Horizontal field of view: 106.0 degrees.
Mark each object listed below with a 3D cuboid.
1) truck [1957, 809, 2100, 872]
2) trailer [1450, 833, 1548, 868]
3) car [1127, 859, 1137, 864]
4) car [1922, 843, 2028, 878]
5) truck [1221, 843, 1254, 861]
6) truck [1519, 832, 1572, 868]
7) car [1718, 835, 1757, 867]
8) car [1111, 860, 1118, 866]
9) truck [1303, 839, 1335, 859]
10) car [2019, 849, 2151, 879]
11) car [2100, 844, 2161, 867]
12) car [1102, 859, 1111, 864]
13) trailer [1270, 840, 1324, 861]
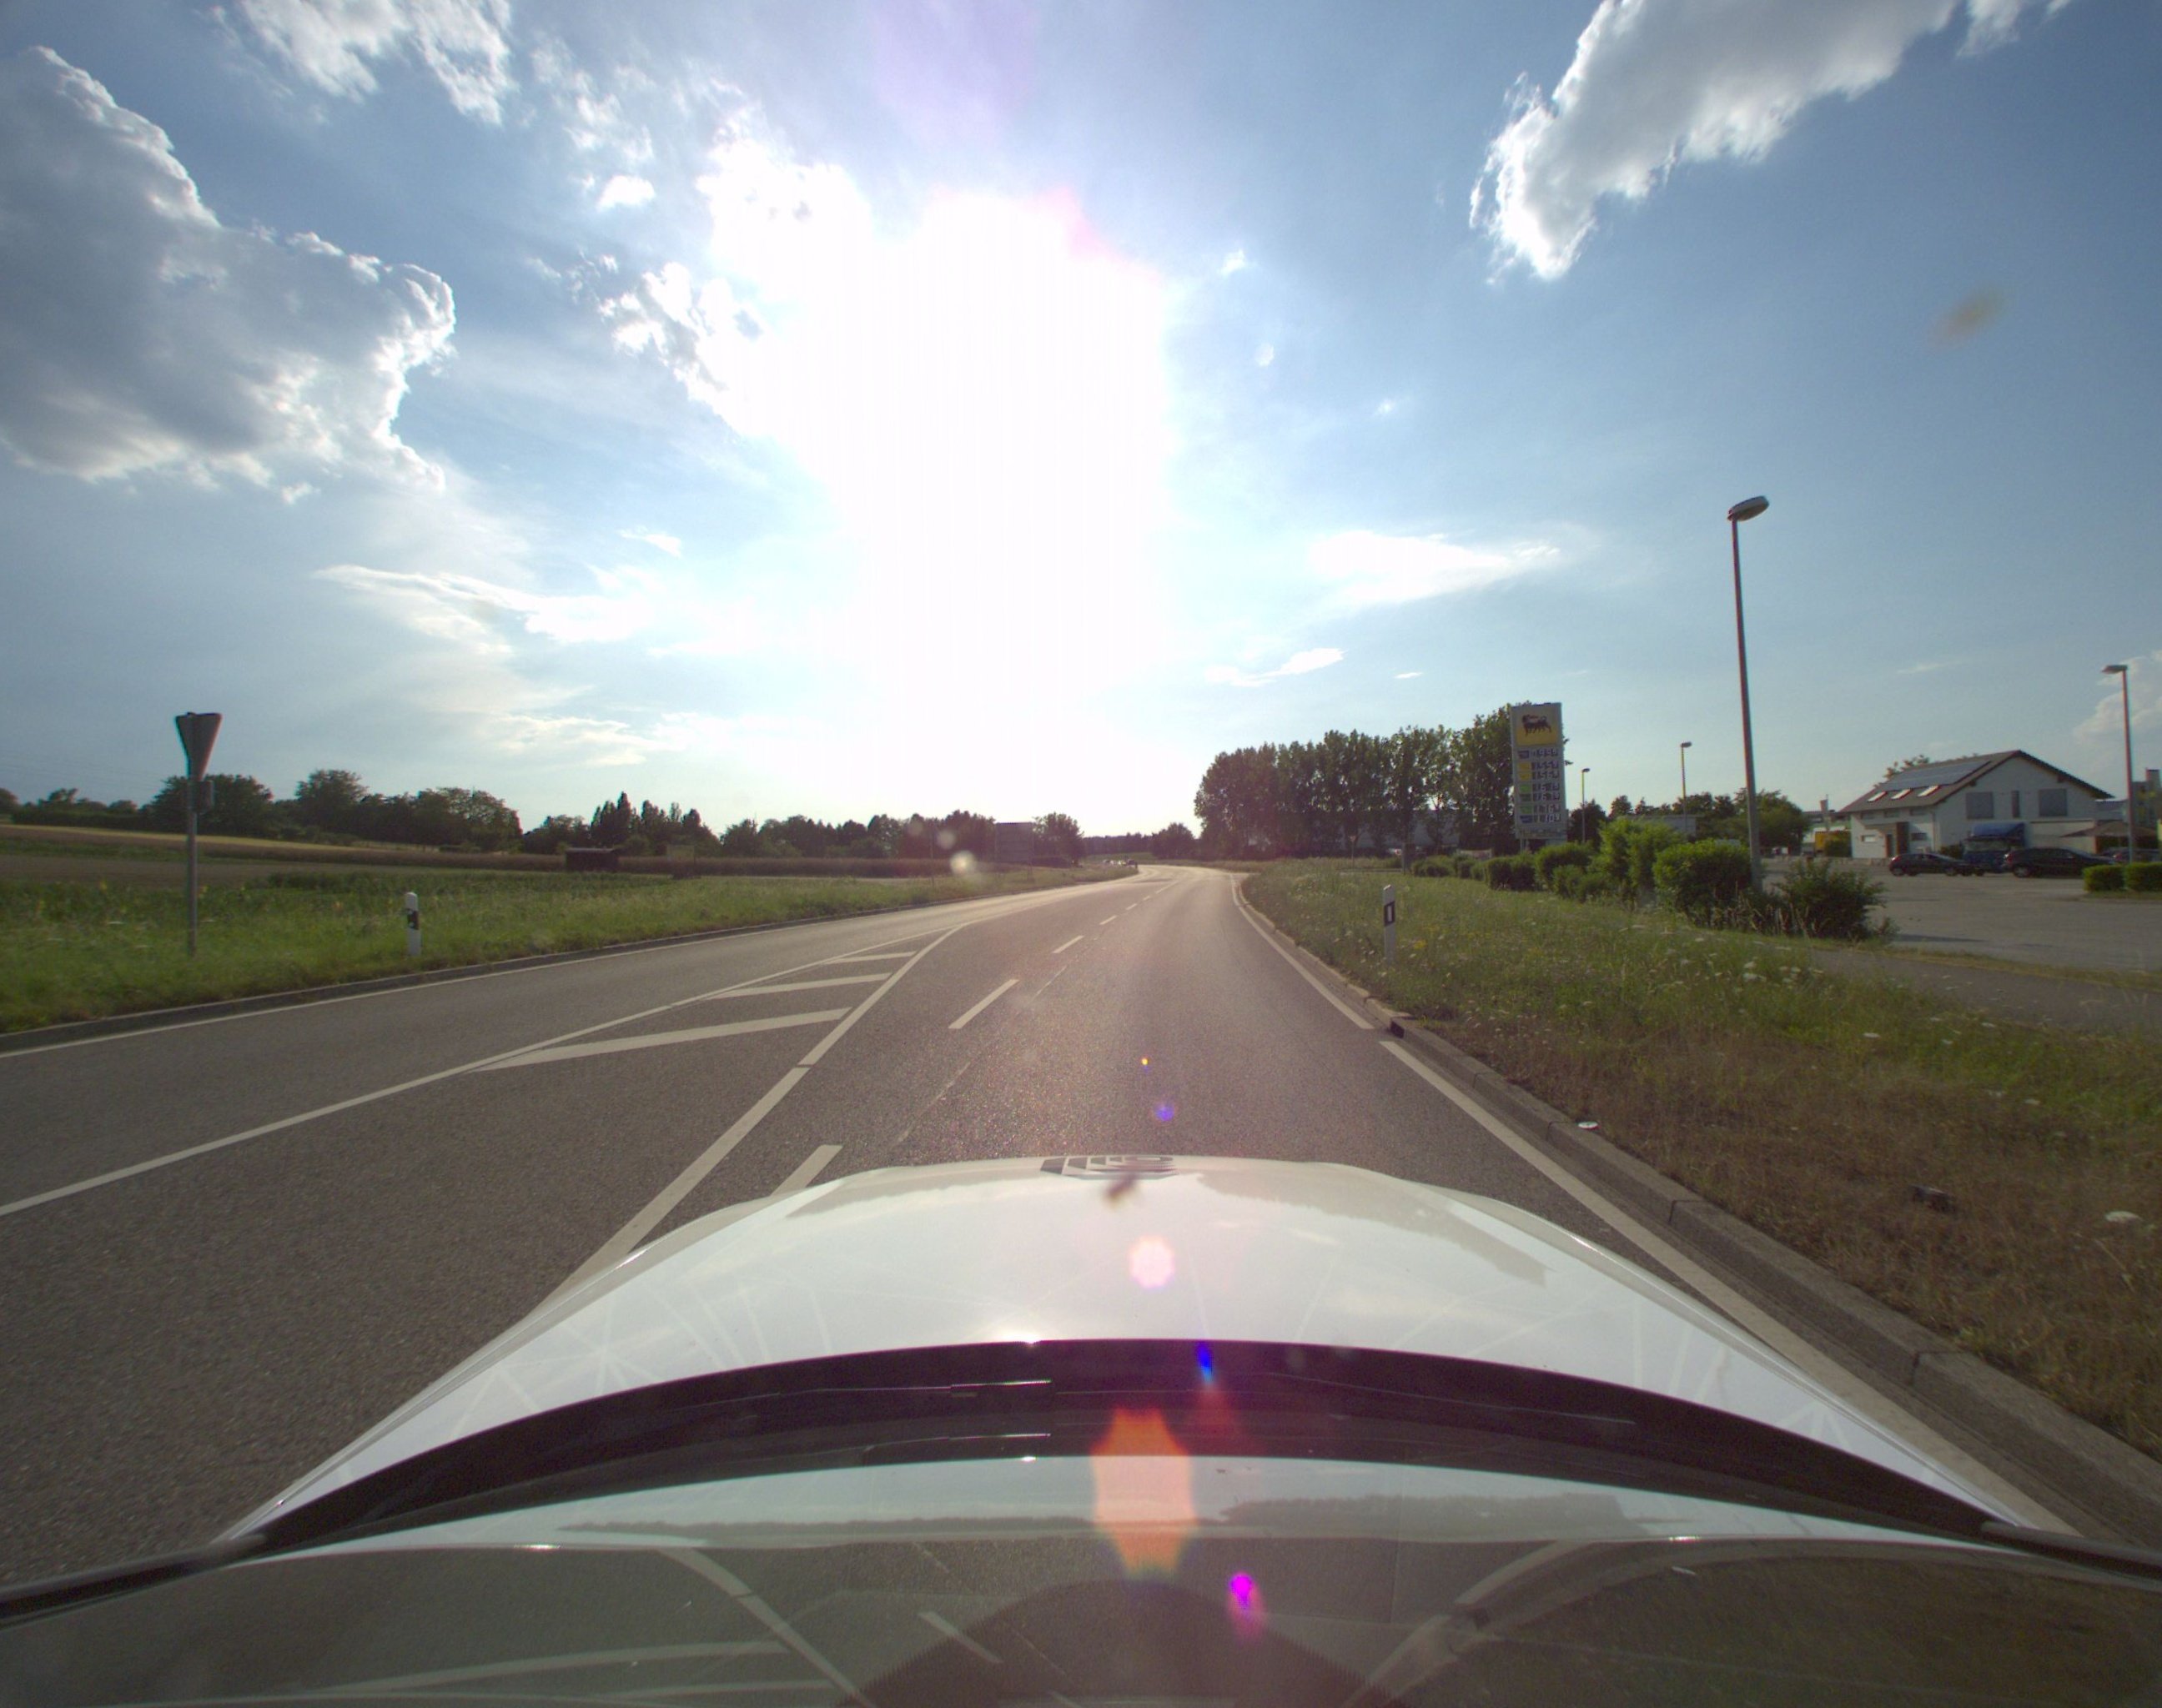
[{"bbox_3d":[60.704,-0.785,52.199,7.995,3.689,2.753,1,-1,-14],"label":"truck"},{"bbox_3d":[50.465,-0.312,99.069,2.246,3.916,13.654,1,-1,-14],"label":"trailer"},{"bbox_3d":[13.024,1.926,206.712,1.964,1.151,3.861,1,-1,-4],"label":"car"},{"bbox_3d":[55.740,0.392,50.872,1.768,2.014,4.063,2,0,-19],"label":"car"},{"bbox_3d":[30.913,-0.399,161.300,2.515,3.377,9.636,1,-1,-14],"label":"truck"},{"bbox_3d":[52.480,-0.433,92.124,2.250,3.916,5.084,1,-2,-20],"label":"truck"},{"bbox_3d":[55.202,-0.186,68.566,2.207,2.519,6.861,0,-2,36],"label":"car"},{"bbox_3d":[8.639,2.356,209.040,1.677,1.349,3.637,1,0,4],"label":"car"},{"bbox_3d":[40.337,-0.857,138.065,2.626,3.162,5.675,1,-3,-17],"label":"truck"},{"bbox_3d":[56.839,0.575,46.222,1.851,1.635,4.389,1,-1,-22],"label":"car"},{"bbox_3d":[79.236,0.100,60.873,3.567,1.629,1.853,1,-1,6],"label":"car"},{"bbox_3d":[7.333,2.228,234.656,1.850,1.408,3.633,1,-1,-9],"label":"car"},{"bbox_3d":[38.251,-0.565,144.989,2.690,3.142,13.192,1,-3,-17],"label":"trailer"}]
